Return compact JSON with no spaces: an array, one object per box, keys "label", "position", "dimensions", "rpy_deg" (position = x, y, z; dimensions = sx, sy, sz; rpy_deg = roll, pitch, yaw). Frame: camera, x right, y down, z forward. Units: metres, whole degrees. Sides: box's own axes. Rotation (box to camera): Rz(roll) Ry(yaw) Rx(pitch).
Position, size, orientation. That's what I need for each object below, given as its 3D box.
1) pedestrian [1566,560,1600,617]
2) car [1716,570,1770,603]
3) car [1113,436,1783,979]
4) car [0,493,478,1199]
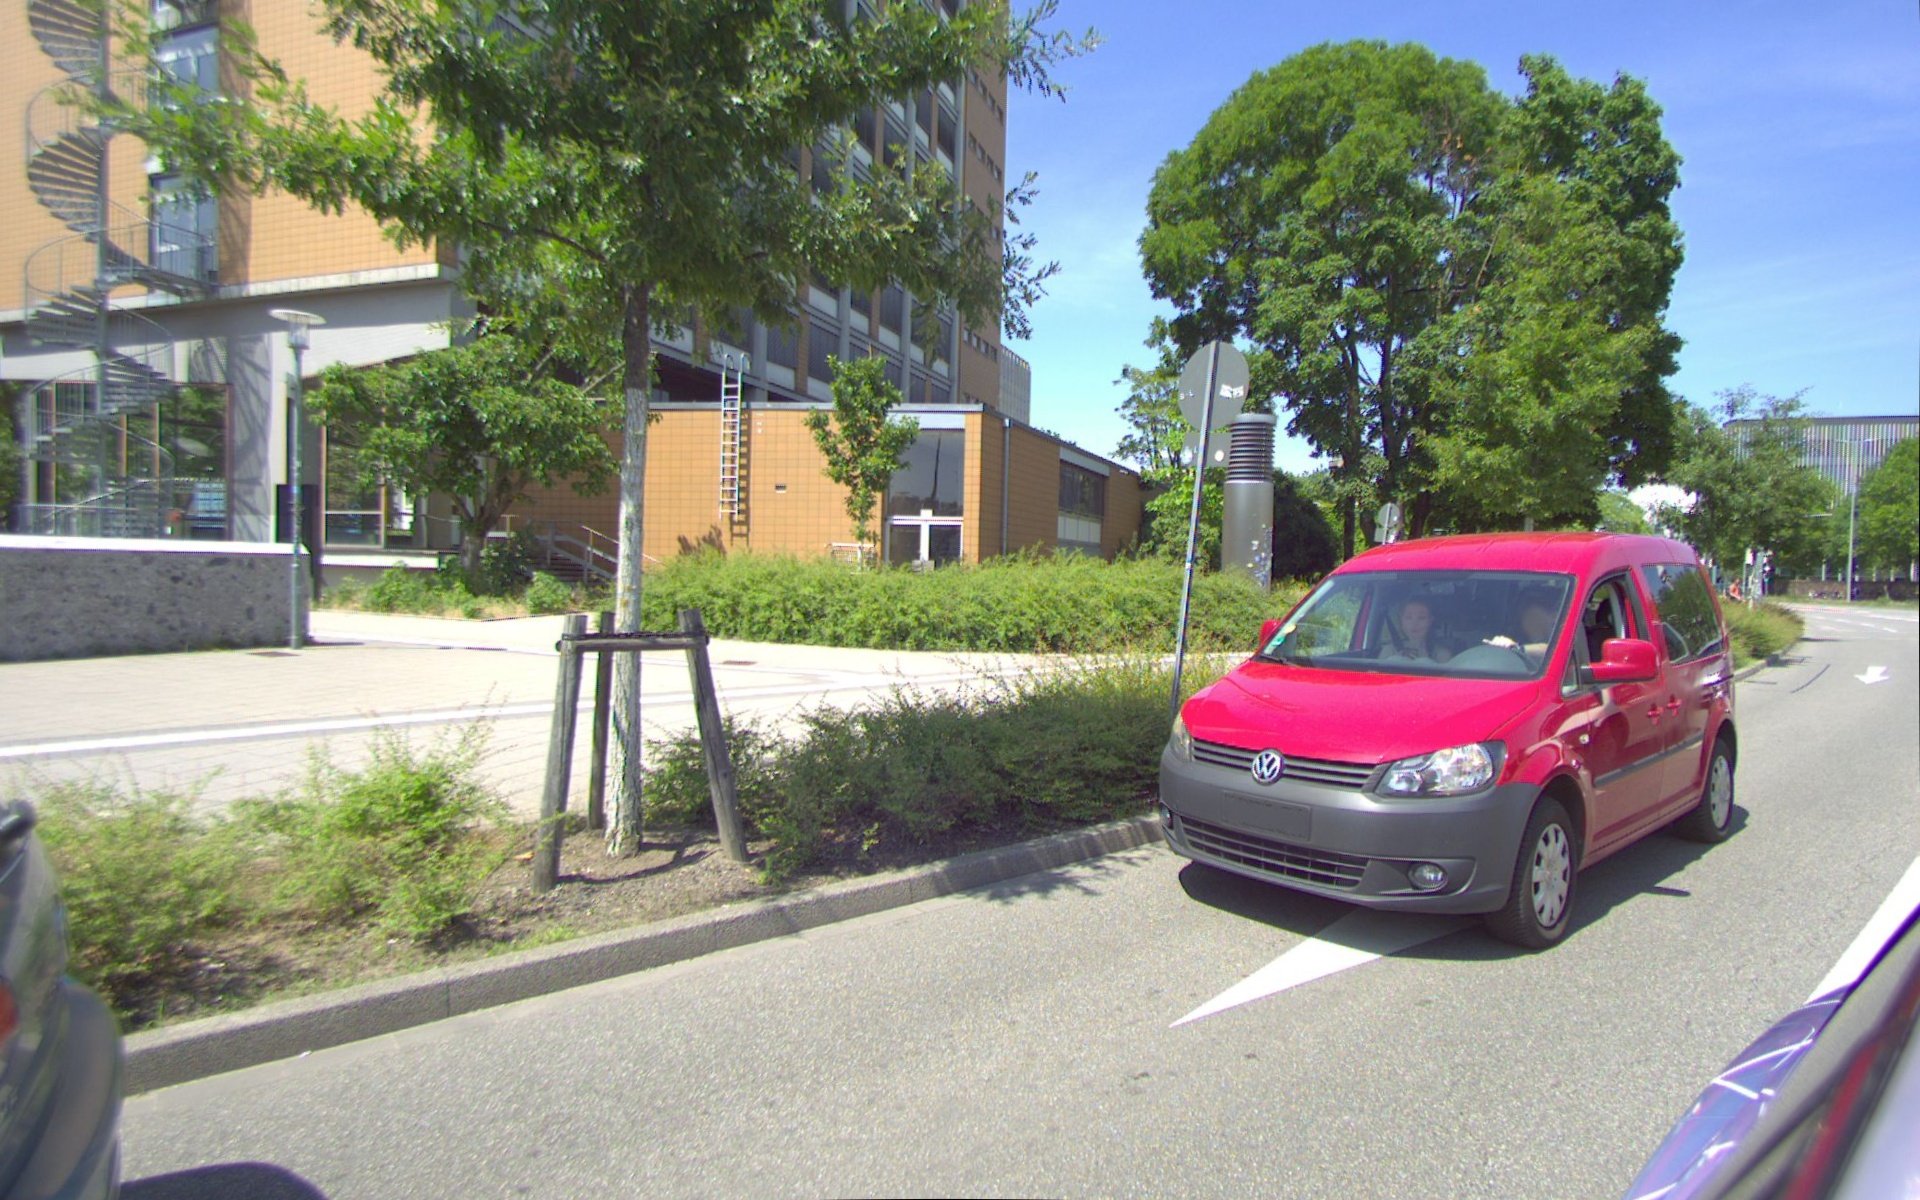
[{"label":"pedestrian","position":[20.307,-0.394,32.980],"dimensions":[0.603,1.820,0.728],"rpy_deg":[0,2,-39]},{"label":"car","position":[50.581,-0.900,65.442],"dimensions":[1.981,2.038,3.964],"rpy_deg":[2,2,27]},{"label":"car","position":[2.960,0.340,5.587],"dimensions":[4.465,1.882,1.654],"rpy_deg":[0,1,-40]},{"label":"car","position":[-2.688,0.626,0.777],"dimensions":[3.931,1.477,1.655],"rpy_deg":[0,1,-39]}]
